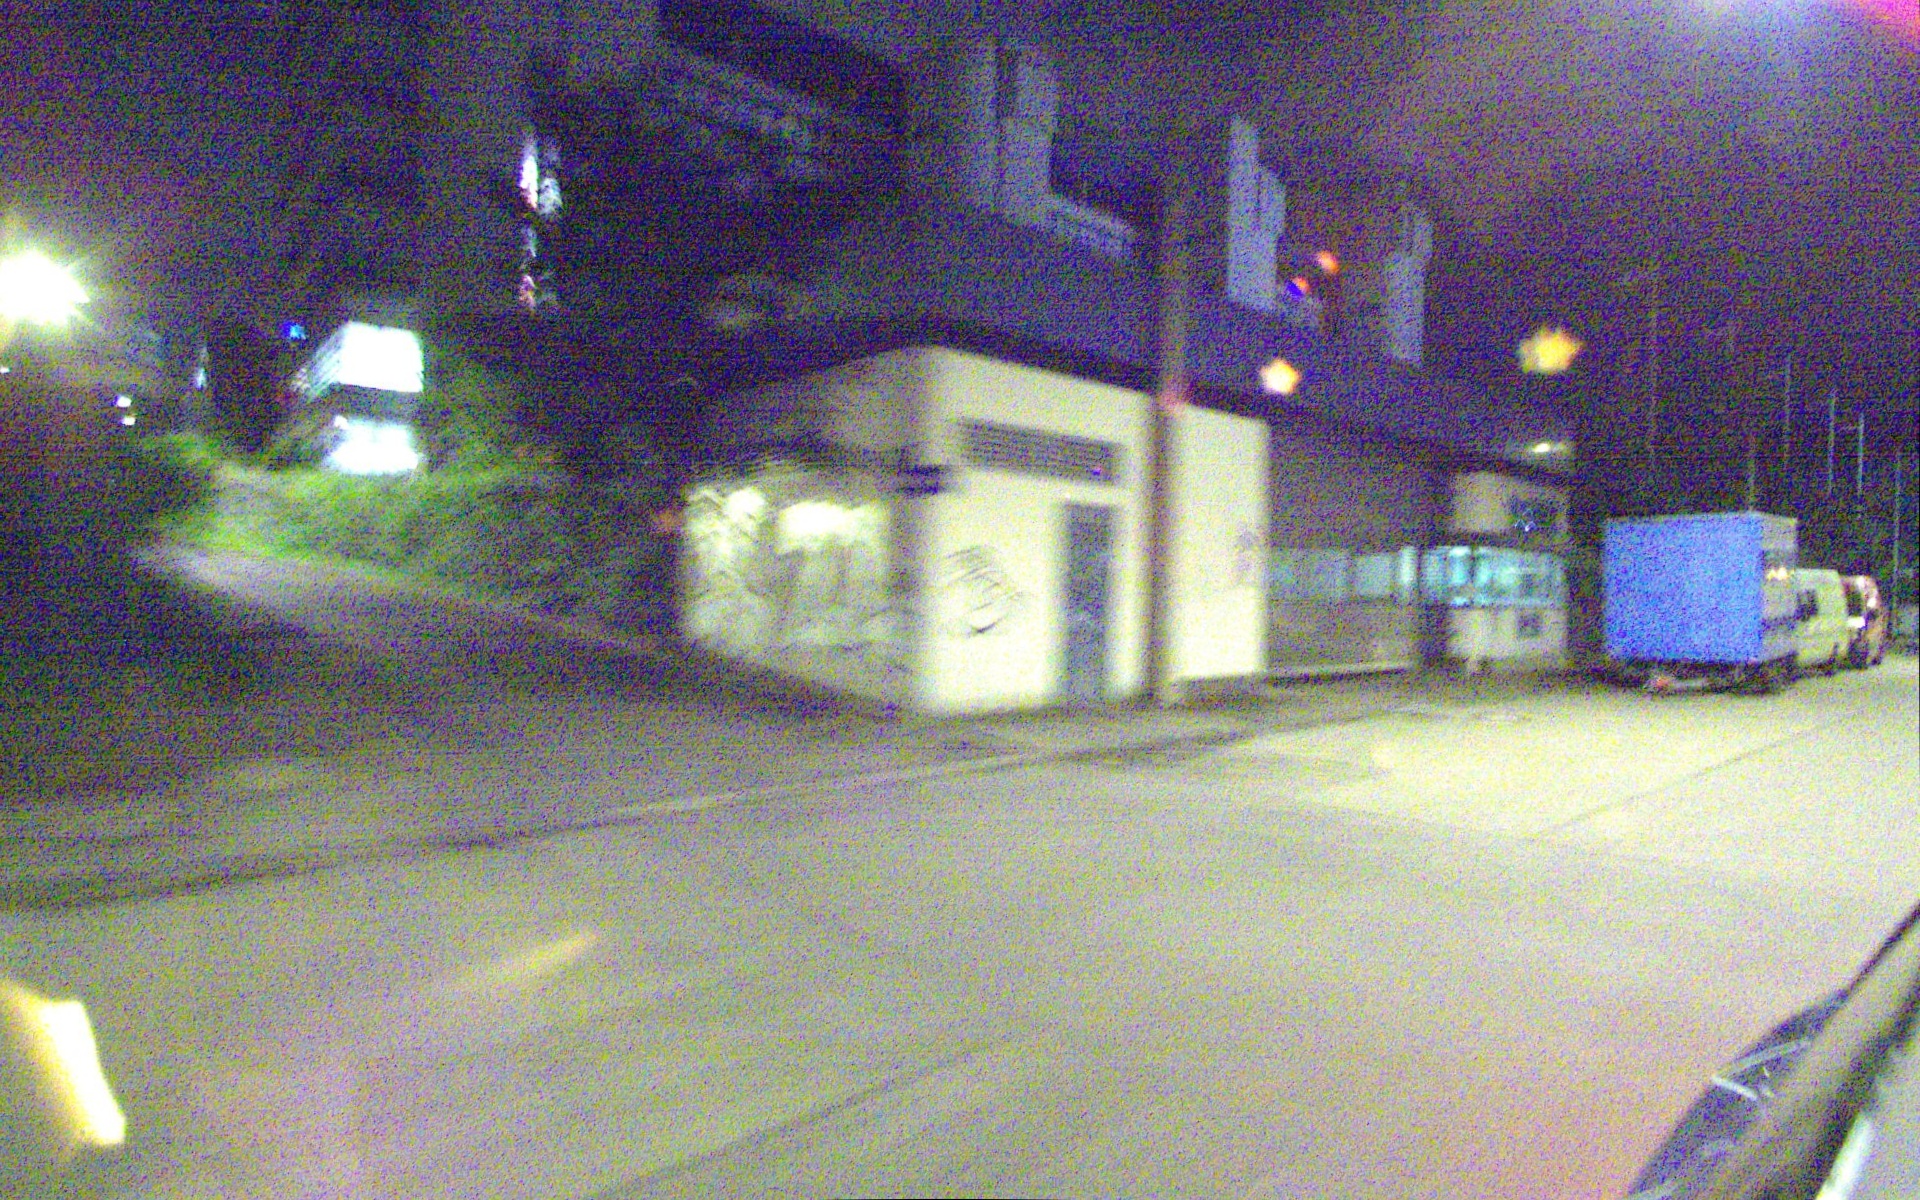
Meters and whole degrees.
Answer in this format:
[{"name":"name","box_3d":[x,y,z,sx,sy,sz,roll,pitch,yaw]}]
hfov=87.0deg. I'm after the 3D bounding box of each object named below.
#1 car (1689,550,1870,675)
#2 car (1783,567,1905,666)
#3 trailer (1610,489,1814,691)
[{"name":"car","box_3d":[19.399,0.287,23.812,6.524,2.580,1.945,1,0,-39]},{"name":"car","box_3d":[25.432,0.442,29.016,5.922,2.580,1.996,1,0,-42]},{"name":"trailer","box_3d":[14.383,-0.161,19.273,4.288,3.368,2.400,1,0,-43]}]
